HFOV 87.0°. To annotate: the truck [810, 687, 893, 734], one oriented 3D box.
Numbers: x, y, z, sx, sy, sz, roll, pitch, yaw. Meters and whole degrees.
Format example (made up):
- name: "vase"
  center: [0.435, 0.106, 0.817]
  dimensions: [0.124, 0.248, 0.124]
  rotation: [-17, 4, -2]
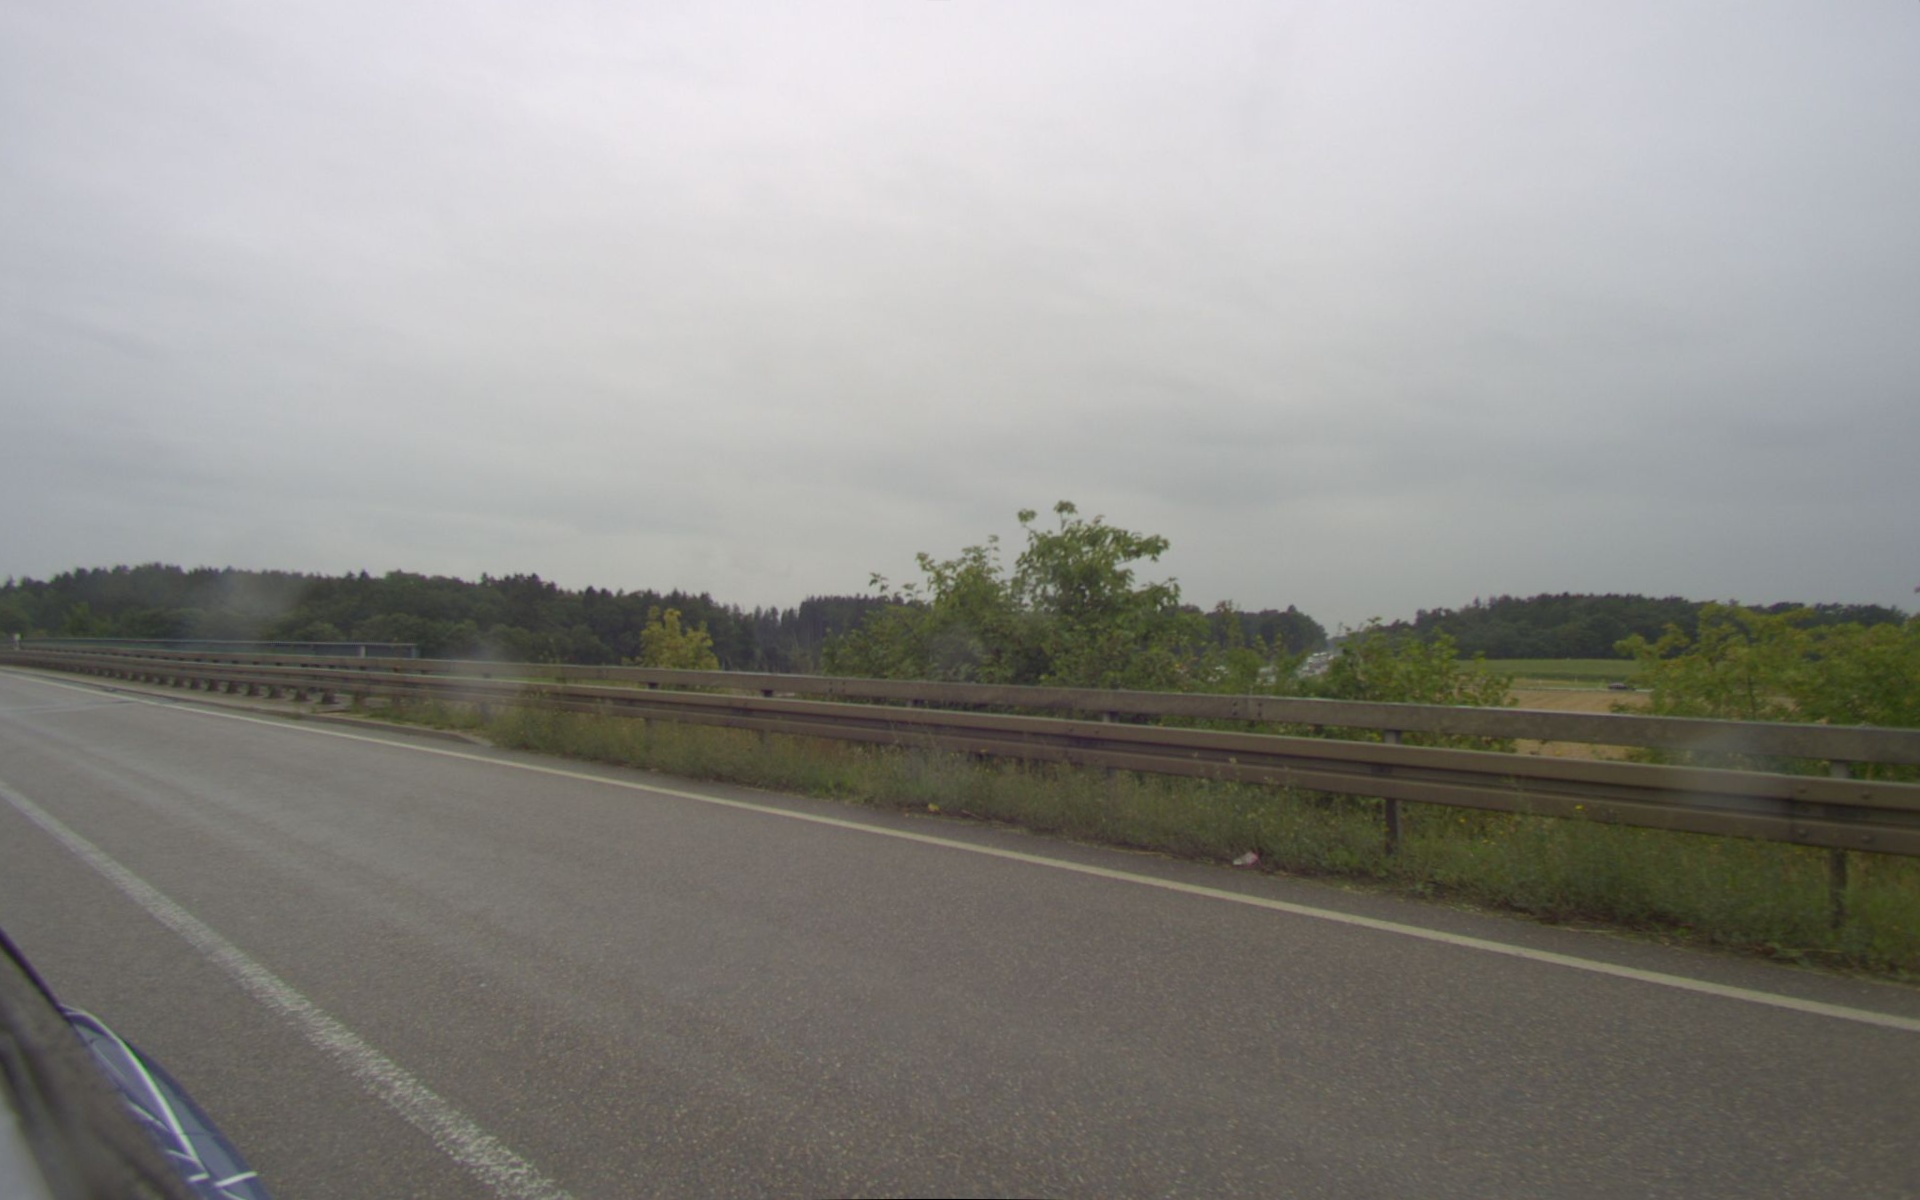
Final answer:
- name: "truck"
  center: [-10.658, 10.869, 100.733]
  dimensions: [2.773, 3.899, 10.542]
  rotation: [-1, -2, 28]
